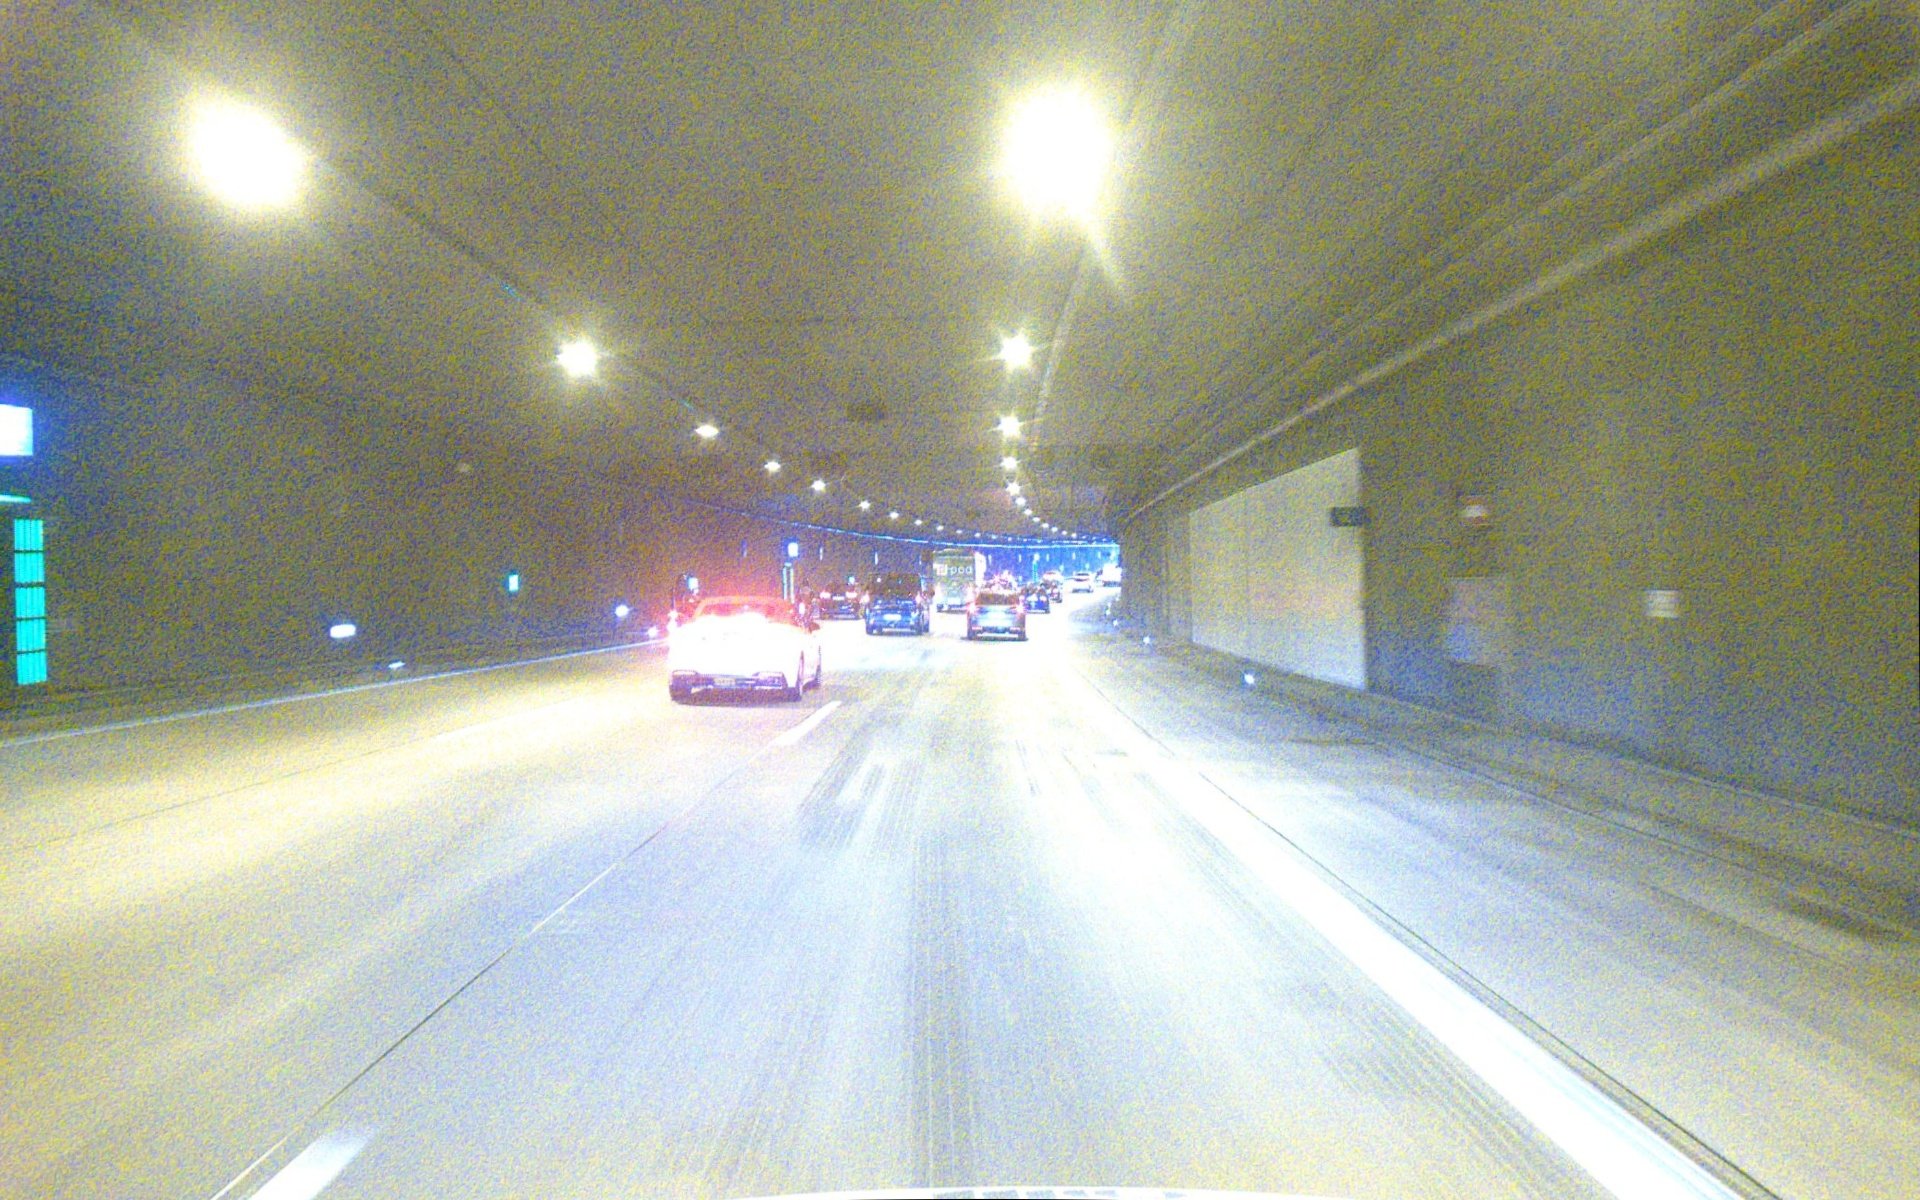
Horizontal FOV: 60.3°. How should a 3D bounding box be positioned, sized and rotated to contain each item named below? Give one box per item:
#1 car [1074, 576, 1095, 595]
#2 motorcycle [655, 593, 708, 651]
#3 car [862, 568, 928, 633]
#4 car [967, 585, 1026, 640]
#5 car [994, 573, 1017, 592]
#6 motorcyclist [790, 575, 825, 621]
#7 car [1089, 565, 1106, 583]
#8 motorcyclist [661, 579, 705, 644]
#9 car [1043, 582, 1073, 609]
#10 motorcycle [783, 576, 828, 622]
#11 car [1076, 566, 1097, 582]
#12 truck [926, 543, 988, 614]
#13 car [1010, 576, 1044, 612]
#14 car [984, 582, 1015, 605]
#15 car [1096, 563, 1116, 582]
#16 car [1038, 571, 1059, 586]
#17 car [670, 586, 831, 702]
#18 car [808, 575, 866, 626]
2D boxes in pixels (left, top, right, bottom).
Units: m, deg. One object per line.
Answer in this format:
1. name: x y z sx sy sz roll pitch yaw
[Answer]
1. car: 11.626 -1.384 154.648 1.890 1.671 4.001 1 -1 3
2. motorcycle: -6.438 0.499 38.399 0.668 1.319 2.400 1 0 4
3. car: -2.085 -0.009 53.838 1.870 1.978 3.873 0 2 2
4. car: 1.103 0.348 50.212 1.706 1.489 3.872 0 2 1
5. car: 4.267 -1.613 154.313 1.890 1.671 4.003 0 0 6
6. motorcyclist: -5.082 -0.047 55.171 0.789 1.474 1.866 0 -1 7
7. car: 16.705 -3.097 201.003 1.951 2.049 4.003 1 -1 7
8. motorcyclist: -6.433 0.265 38.409 0.761 1.478 1.069 1 -1 3
9. car: 6.899 -0.289 116.341 1.910 1.803 4.000 1 -1 1
10. motorcycle: -5.111 -0.016 55.017 0.907 1.459 2.965 1 -1 6
11. car: 14.279 -2.924 186.164 1.951 1.660 4.003 1 -1 10
12. truck: -0.092 -1.132 90.318 2.975 3.737 7.396 0 0 3
13. car: 3.589 -0.336 89.210 1.818 1.887 4.001 0 0 2
14. car: 2.928 -0.508 122.490 1.951 1.660 4.003 1 0 5
15. car: 16.244 -3.049 184.038 1.951 2.049 4.003 1 -1 10
16. car: 9.967 -2.419 186.468 1.889 1.671 4.003 1 -1 10
17. car: -2.915 0.552 23.982 1.667 1.443 5.060 0 1 0
18. car: -5.107 0.024 69.320 1.952 2.049 4.001 0 0 2
